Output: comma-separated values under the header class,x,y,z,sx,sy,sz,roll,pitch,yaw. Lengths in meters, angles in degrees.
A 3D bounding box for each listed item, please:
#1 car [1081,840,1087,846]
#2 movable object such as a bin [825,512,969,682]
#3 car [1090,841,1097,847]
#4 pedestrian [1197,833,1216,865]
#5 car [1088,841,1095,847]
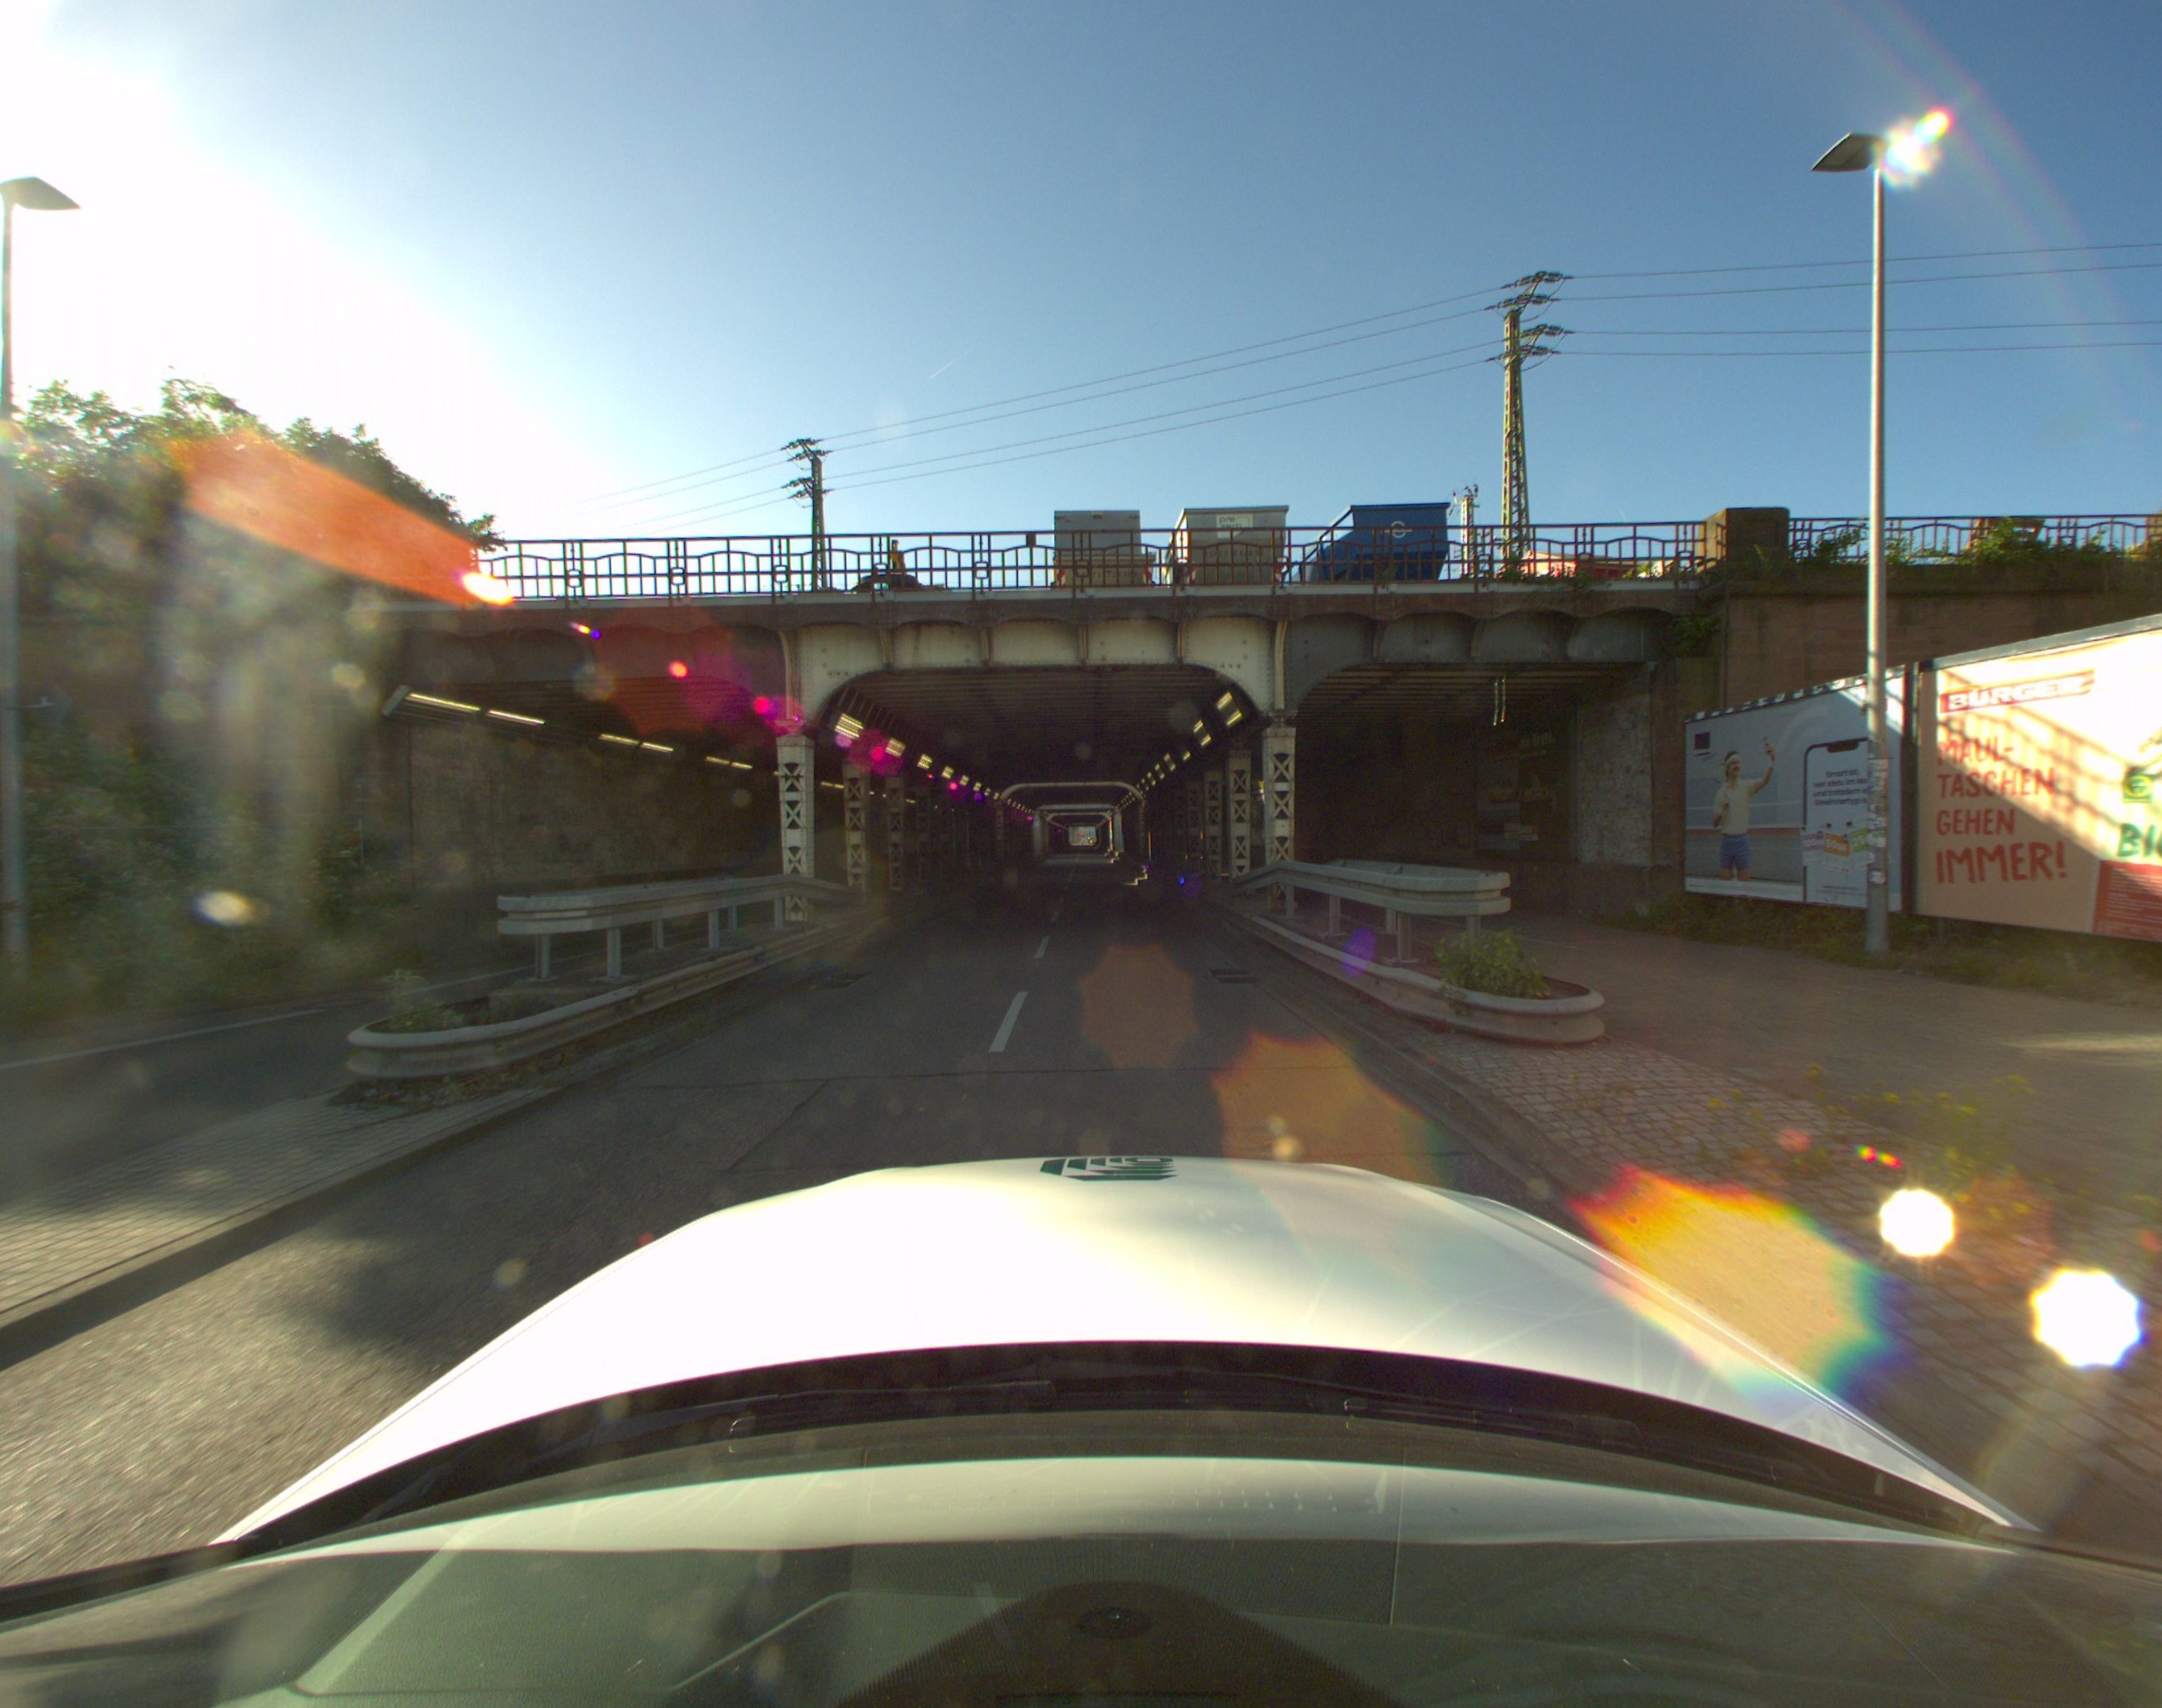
class,x,y,z,sx,sy,sz,roll,pitch,yaw
car,0.936,-3.508,252.519,1.987,1.784,4.000,-2,1,0
movable object such as a bin,-3.917,-5.503,18.238,1.986,2.226,4.832,-1,0,1
car,3.609,-2.848,236.661,1.987,1.784,4.000,-2,1,0
pedestrian,7.515,-0.311,48.681,0.878,1.835,0.922,-3,1,-3
car,3.148,-2.962,245.944,1.987,1.784,4.000,-2,1,0
